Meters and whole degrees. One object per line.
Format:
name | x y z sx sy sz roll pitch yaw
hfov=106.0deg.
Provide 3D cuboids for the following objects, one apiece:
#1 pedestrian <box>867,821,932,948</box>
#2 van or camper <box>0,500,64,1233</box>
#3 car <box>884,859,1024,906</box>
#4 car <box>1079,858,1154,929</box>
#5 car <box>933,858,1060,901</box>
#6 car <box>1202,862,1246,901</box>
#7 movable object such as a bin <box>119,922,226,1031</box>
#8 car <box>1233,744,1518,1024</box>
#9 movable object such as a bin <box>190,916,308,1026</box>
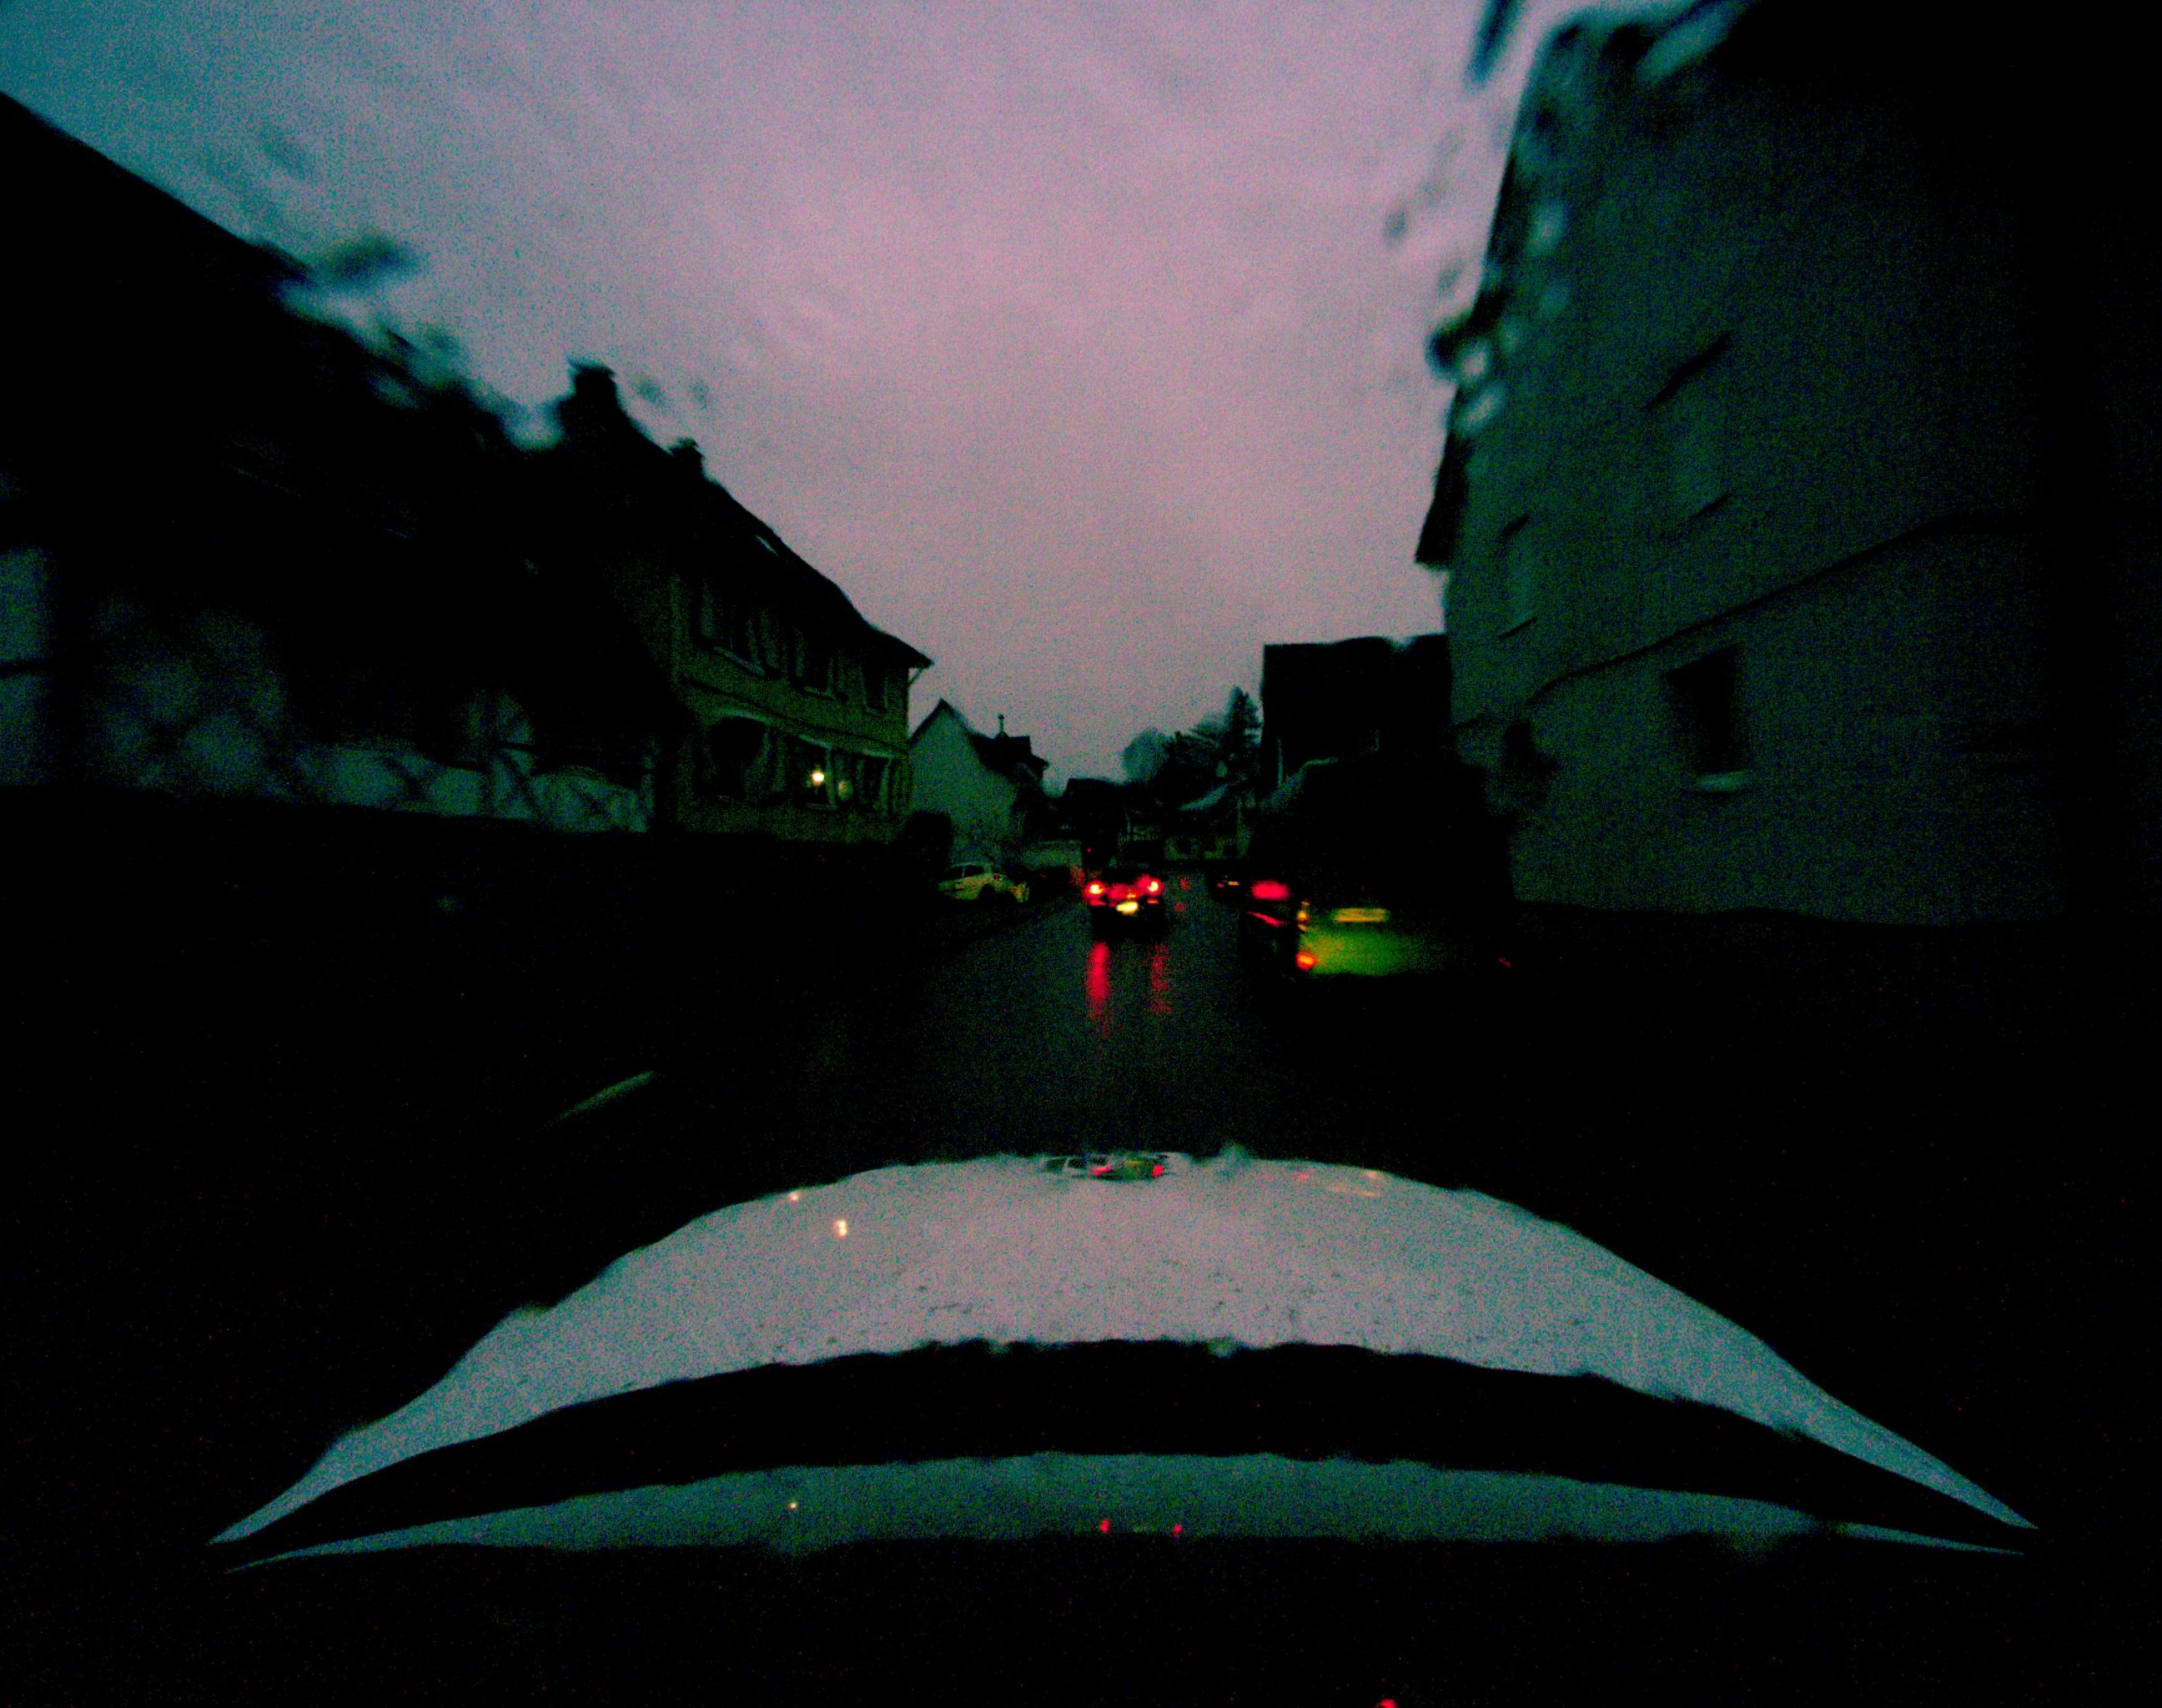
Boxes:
pedestrian | -2.972 0.494 13.373 0.779 2.014 0.871 0 -1 8
van or camper | -7.440 0.228 2.526 6.028 2.942 2.327 -4 -1 5
car | -4.559 1.009 29.538 4.571 1.470 1.898 -3 -1 13
car | 0.913 0.843 19.128 1.538 1.466 3.704 -1 0 6
car | -3.295 0.989 32.179 4.566 1.470 2.005 -3 -1 9
car | 5.844 1.074 33.364 1.628 1.471 4.010 -1 0 9
movable object such as a bin | -8.569 1.141 7.693 0.453 0.948 0.503 -1 0 12
car | 3.124 0.282 10.040 1.999 2.454 5.624 -1 0 6
movable object such as a bin | -8.426 1.168 8.261 0.612 1.021 0.582 -1 0 12
